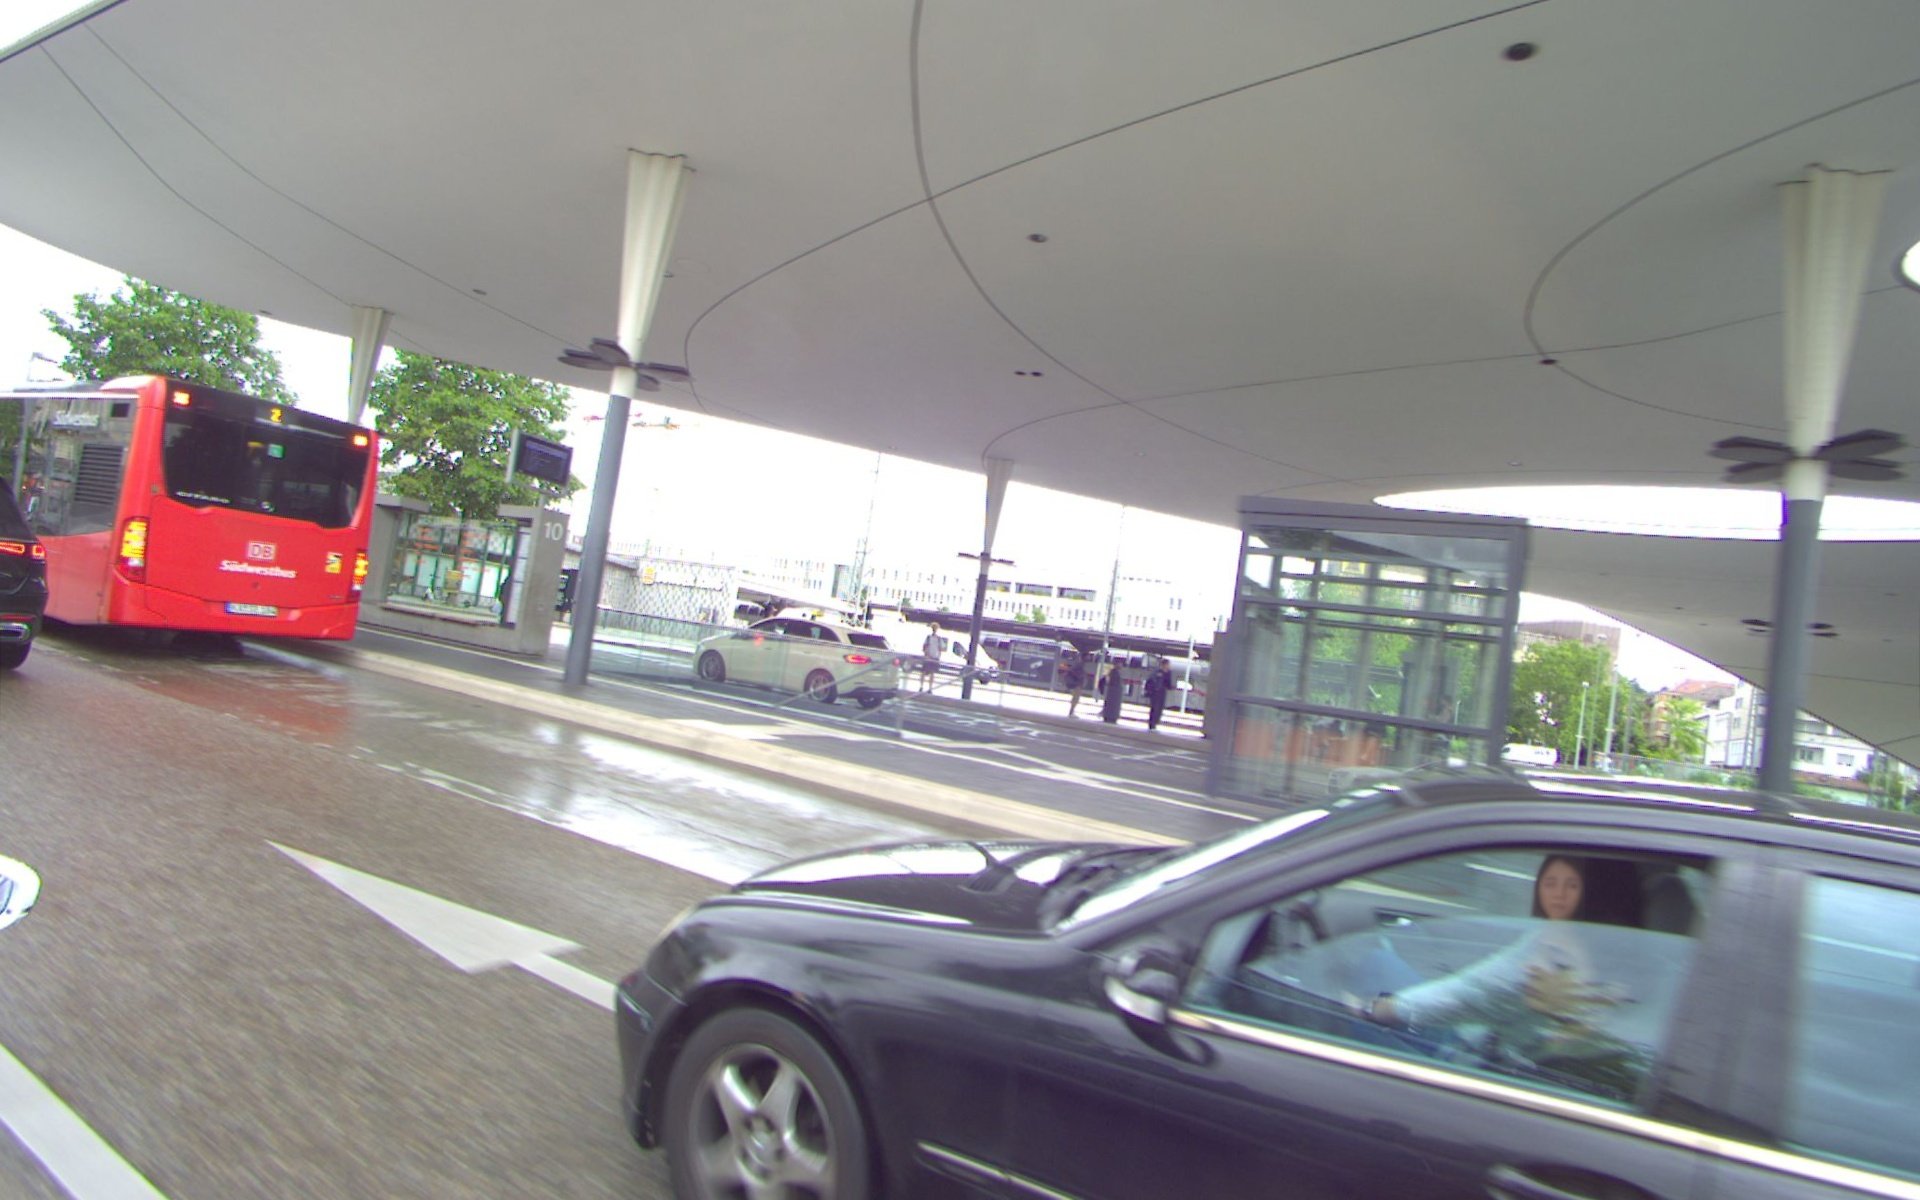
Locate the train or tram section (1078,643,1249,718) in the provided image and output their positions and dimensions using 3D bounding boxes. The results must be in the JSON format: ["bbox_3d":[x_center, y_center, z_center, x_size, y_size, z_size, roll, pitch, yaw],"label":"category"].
[{"bbox_3d":[14.752,5.822,73.473,11.420,3.712,3.146,6,-6,30],"label":"train or tram section"}]

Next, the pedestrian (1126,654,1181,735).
[{"bbox_3d":[4.466,2.179,23.229,0.756,1.730,0.707,10,4,43],"label":"pedestrian"}]

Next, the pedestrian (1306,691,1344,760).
[{"bbox_3d":[8.335,2.860,22.951,0.603,1.460,0.562,6,-3,27],"label":"pedestrian"}]

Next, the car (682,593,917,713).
[{"bbox_3d":[-3.138,1.003,19.495,4.168,1.680,1.717,6,-4,30],"label":"car"}]

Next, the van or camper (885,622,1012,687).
[{"bbox_3d":[-0.634,2.814,52.339,6.108,2.536,2.099,6,-3,27],"label":"van or camper"}]

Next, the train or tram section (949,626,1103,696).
[{"bbox_3d":[5.094,4.721,79.266,11.419,3.715,3.146,7,-6,30],"label":"train or tram section"}]

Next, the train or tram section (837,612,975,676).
[{"bbox_3d":[-4.665,3.681,85.059,11.419,3.693,3.146,7,-6,30],"label":"train or tram section"}]

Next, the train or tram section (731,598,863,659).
[{"bbox_3d":[-14.847,2.526,91.075,12.115,3.693,3.146,7,-6,30],"label":"train or tram section"}]

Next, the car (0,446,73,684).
[{"bbox_3d":[-10.033,-0.558,8.775,4.792,1.898,1.961,7,-1,31],"label":"car"}]

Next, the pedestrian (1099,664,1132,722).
[{"bbox_3d":[3.968,2.363,25.643,0.469,1.403,0.559,9,-7,-24],"label":"pedestrian"}]

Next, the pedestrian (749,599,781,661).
[{"bbox_3d":[-5.418,0.839,27.925,0.573,1.592,0.772,9,-7,-19],"label":"pedestrian"}]

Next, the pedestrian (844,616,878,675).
[{"bbox_3d":[-2.861,1.322,29.112,0.759,1.592,0.583,7,-7,-1],"label":"pedestrian"}]

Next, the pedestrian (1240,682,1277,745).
[{"bbox_3d":[7.003,2.663,23.604,0.603,1.376,0.562,6,-3,27],"label":"pedestrian"}]

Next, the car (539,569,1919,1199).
[{"bbox_3d":[1.298,1.004,2.162,4.230,1.479,1.702,8,-1,30],"label":"car"}]

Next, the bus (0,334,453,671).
[{"bbox_3d":[-12.205,-1.407,14.550,10.697,3.329,3.293,6,-2,32],"label":"bus"}]

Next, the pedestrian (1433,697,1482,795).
[{"bbox_3d":[9.276,2.716,18.770,0.602,1.710,0.562,7,-3,24],"label":"pedestrian"}]

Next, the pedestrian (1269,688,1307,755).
[{"bbox_3d":[7.565,2.795,23.195,0.603,1.460,0.562,6,-3,27],"label":"pedestrian"}]

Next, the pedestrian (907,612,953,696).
[{"bbox_3d":[-0.779,1.385,25.808,0.719,2.032,0.665,11,-8,-33],"label":"pedestrian"}]

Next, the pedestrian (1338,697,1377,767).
[{"bbox_3d":[8.889,2.954,22.506,0.625,1.460,0.562,6,-3,27],"label":"pedestrian"}]

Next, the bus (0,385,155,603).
[{"bbox_3d":[-19.142,-2.180,18.870,8.702,3.327,3.298,6,-2,32],"label":"bus"}]

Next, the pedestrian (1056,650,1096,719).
[{"bbox_3d":[2.856,2.072,24.778,0.698,1.600,0.600,5,-2,22],"label":"pedestrian"}]

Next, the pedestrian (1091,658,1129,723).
[{"bbox_3d":[3.959,2.405,26.653,0.759,1.592,0.583,7,-7,-1],"label":"pedestrian"}]

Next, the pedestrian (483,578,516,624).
[{"bbox_3d":[-16.858,0.026,36.826,0.663,1.592,0.606,2,-8,36],"label":"pedestrian"}]

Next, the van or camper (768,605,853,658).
[{"bbox_3d":[-8.091,1.754,54.968,2.073,2.294,4.702,6,-3,27],"label":"van or camper"}]
